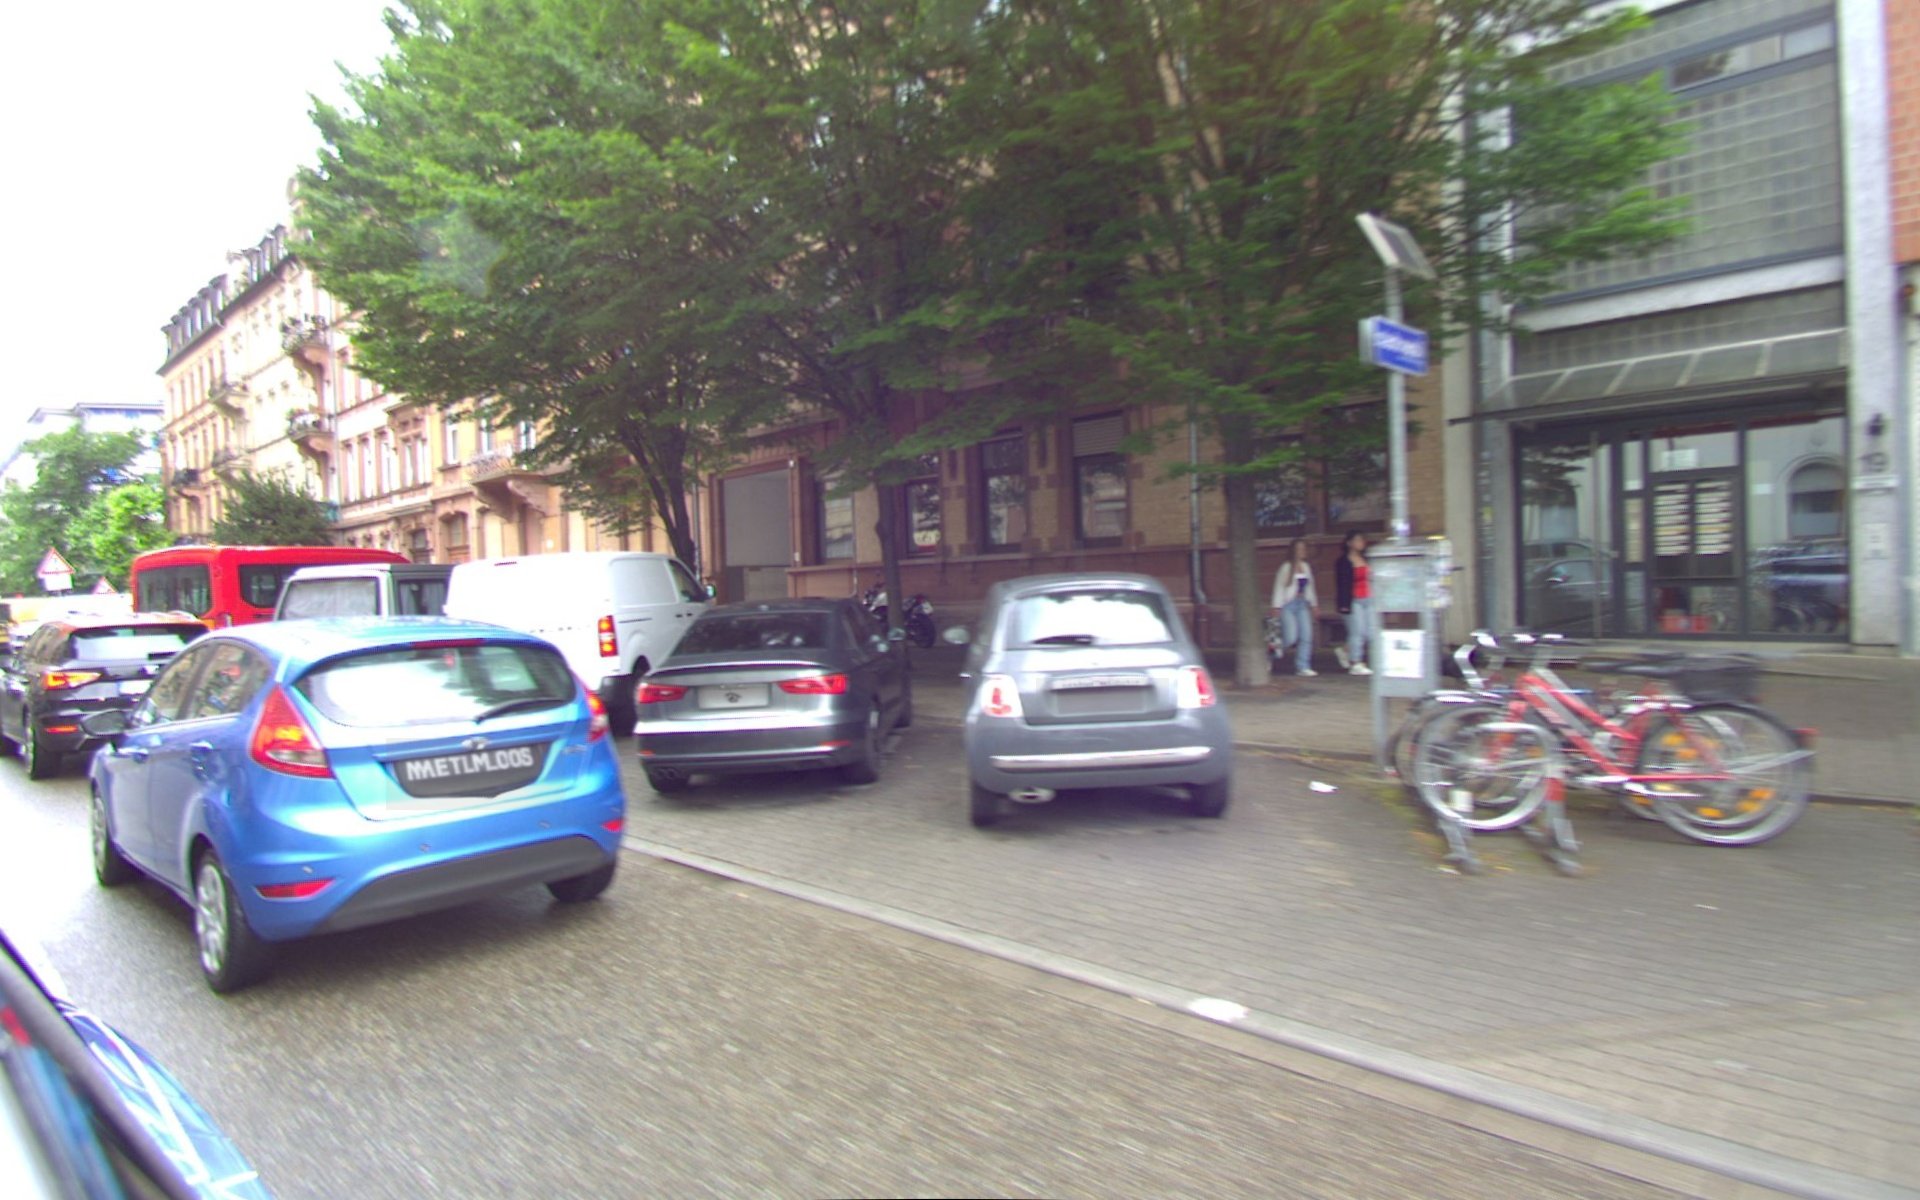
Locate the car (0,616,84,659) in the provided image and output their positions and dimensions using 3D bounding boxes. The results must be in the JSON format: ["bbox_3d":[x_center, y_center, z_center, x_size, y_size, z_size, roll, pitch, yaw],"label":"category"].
[{"bbox_3d":[-45.270,1.803,49.032,1.779,1.674,4.132,-2,3,6],"label":"car"}]

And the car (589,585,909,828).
[{"bbox_3d":[-1.499,0.683,8.684,1.744,1.457,3.977,-3,2,2],"label":"car"}]

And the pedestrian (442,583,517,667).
[{"bbox_3d":[-9.990,0.511,21.050,1.088,1.641,0.893,-2,4,37],"label":"pedestrian"}]

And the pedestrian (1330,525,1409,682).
[{"bbox_3d":[4.411,0.028,10.887,0.588,1.613,0.561,-2,4,37],"label":"pedestrian"}]

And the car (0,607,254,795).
[{"bbox_3d":[-9.067,0.915,10.713,4.001,1.571,1.652,-1,1,41],"label":"car"}]

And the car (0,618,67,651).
[{"bbox_3d":[-52.785,1.932,56.334,1.975,1.575,4.451,-1,3,6],"label":"car"}]

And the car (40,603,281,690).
[{"bbox_3d":[-19.733,1.081,25.263,1.828,1.642,4.424,-3,3,16],"label":"car"}]

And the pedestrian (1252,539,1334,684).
[{"bbox_3d":[3.645,0.114,11.067,0.586,1.507,0.682,-2,4,37],"label":"pedestrian"}]

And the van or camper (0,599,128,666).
[{"bbox_3d":[-36.753,1.287,40.721,2.161,2.284,4.714,-4,2,10],"label":"van or camper"}]

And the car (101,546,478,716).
[{"bbox_3d":[-11.653,0.434,18.266,2.208,2.560,5.548,-2,1,14],"label":"car"}]

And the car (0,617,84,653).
[{"bbox_3d":[-49.204,1.874,53.109,1.977,1.574,4.715,-4,2,8],"label":"car"}]

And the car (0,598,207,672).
[{"bbox_3d":[-28.151,1.067,33.361,1.854,2.094,5.224,-1,1,17],"label":"car"}]

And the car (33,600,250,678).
[{"bbox_3d":[-24.015,1.078,29.816,2.544,1.798,4.532,-2,3,41],"label":"car"}]

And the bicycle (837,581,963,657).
[{"bbox_3d":[-1.086,0.334,17.740,2.413,1.202,0.660,-2,4,43],"label":"bicycle"}]

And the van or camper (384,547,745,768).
[{"bbox_3d":[-4.271,0.478,12.002,2.305,1.967,4.697,-4,2,1],"label":"van or camper"}]

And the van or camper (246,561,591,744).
[{"bbox_3d":[-7.058,0.537,13.847,1.761,1.989,4.437,-2,3,9],"label":"van or camper"}]

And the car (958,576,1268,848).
[{"bbox_3d":[0.831,0.616,7.252,1.628,1.446,3.480,-1,0,0],"label":"car"}]

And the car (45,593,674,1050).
[{"bbox_3d":[-3.349,0.756,5.276,4.001,1.476,1.652,-1,0,41],"label":"car"}]

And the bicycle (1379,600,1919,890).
[{"bbox_3d":[3.278,0.649,4.916,2.208,1.166,0.744,-3,0,27],"label":"bicycle"}]

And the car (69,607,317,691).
[{"bbox_3d":[-17.793,1.076,23.756,1.741,1.515,4.330,-3,2,20],"label":"car"}]

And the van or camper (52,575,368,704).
[{"bbox_3d":[-15.709,0.710,21.639,2.324,2.367,5.000,-2,1,16],"label":"van or camper"}]

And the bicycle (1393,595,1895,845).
[{"bbox_3d":[3.613,0.621,5.624,2.135,1.166,0.777,-3,0,27],"label":"bicycle"}]

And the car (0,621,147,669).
[{"bbox_3d":[-32.274,1.591,36.797,1.767,1.446,3.983,-2,1,13],"label":"car"}]
